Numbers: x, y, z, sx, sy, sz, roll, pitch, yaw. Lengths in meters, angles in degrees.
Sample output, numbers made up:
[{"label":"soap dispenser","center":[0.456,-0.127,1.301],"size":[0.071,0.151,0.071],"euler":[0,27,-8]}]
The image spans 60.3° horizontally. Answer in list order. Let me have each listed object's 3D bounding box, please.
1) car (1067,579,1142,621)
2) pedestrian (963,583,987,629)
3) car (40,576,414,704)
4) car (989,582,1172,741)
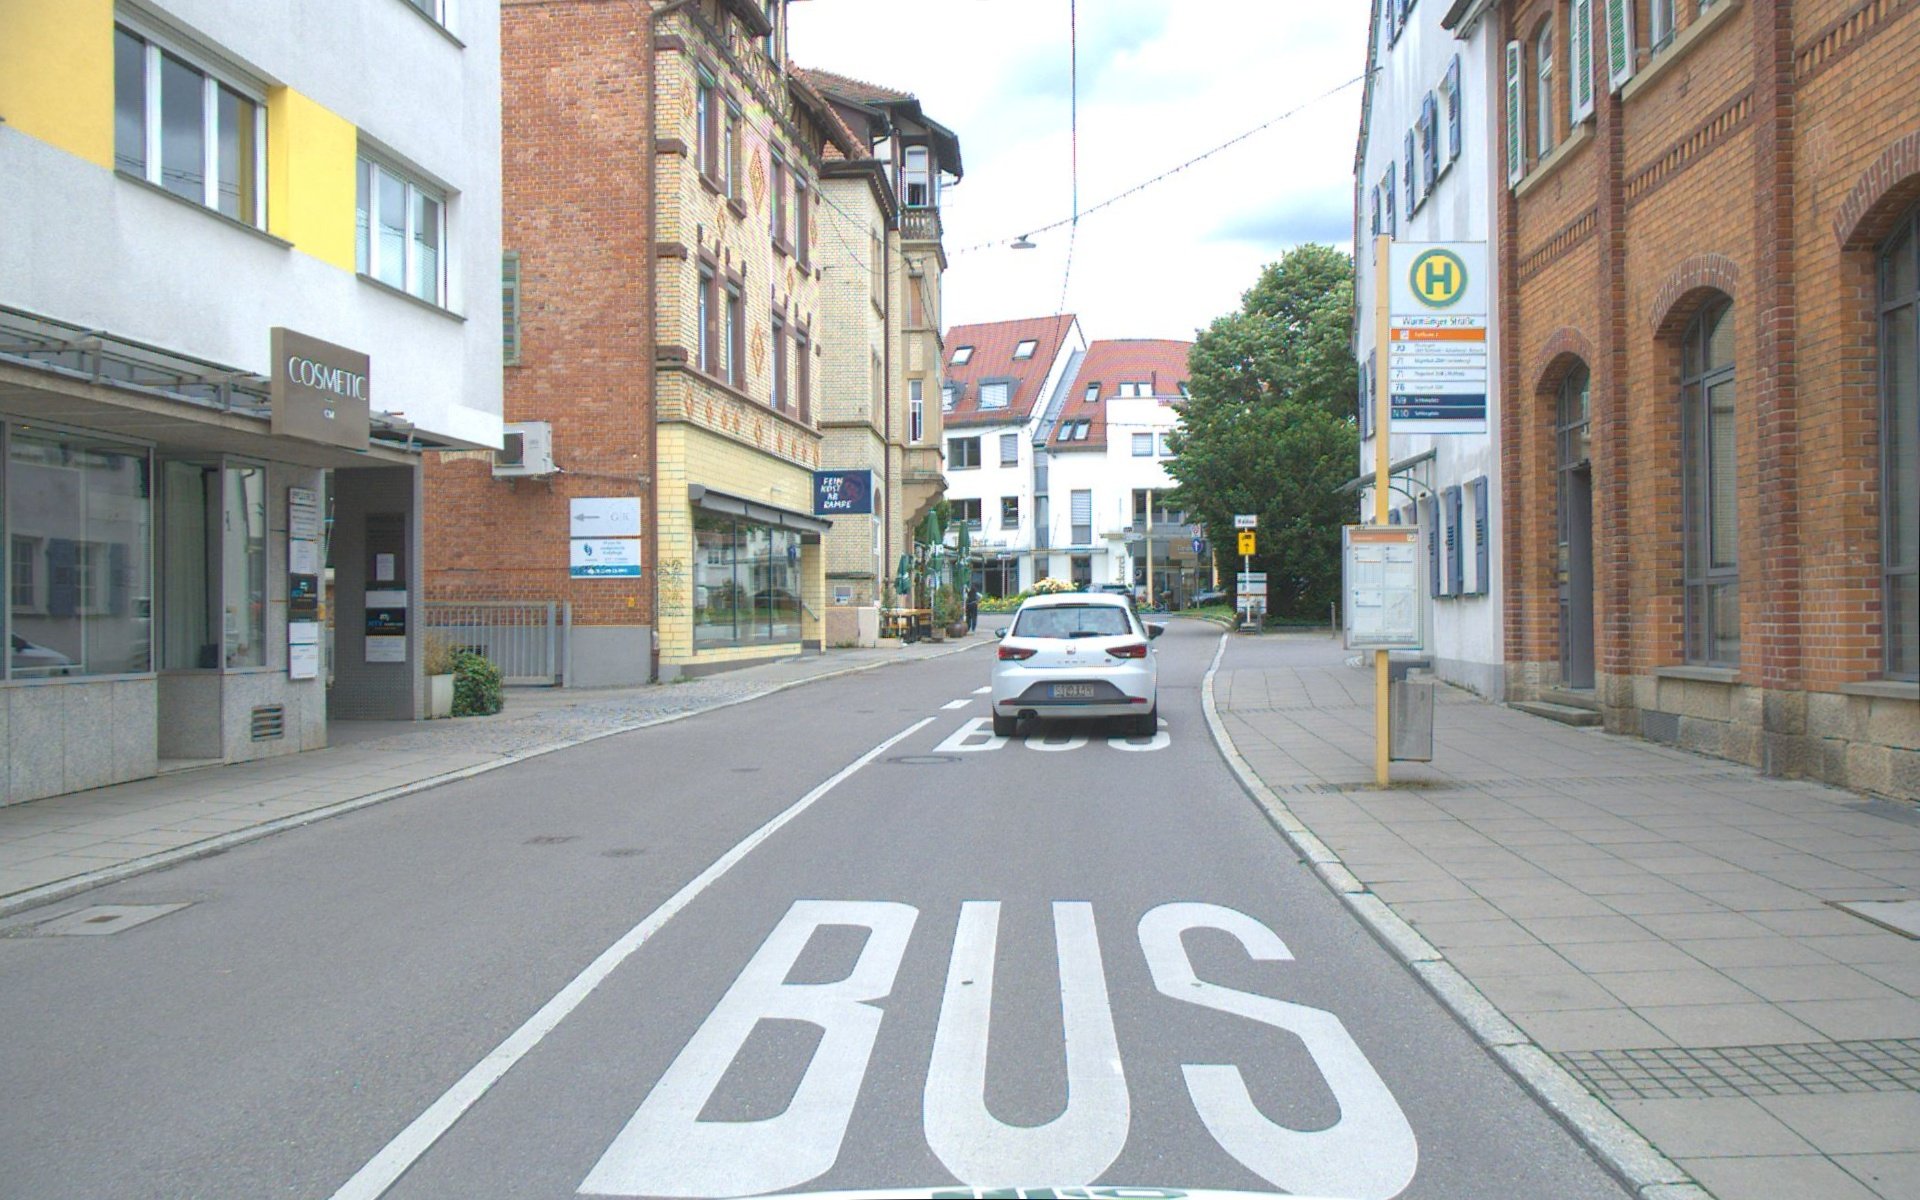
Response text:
[{"label":"car","center":[5.514,-0.037,63.510],"size":[1.780,1.506,3.858],"euler":[-1,1,-13]},{"label":"pedestrian","center":[0.518,0.215,57.583],"size":[0.817,1.579,0.627],"euler":[-1,0,0]},{"label":"car","center":[-9.360,0.489,21.342],"size":[3.903,1.557,2.001],"euler":[0,0,3]},{"label":"car","center":[1.393,0.588,18.188],"size":[1.773,1.506,3.874],"euler":[-1,1,6]}]
